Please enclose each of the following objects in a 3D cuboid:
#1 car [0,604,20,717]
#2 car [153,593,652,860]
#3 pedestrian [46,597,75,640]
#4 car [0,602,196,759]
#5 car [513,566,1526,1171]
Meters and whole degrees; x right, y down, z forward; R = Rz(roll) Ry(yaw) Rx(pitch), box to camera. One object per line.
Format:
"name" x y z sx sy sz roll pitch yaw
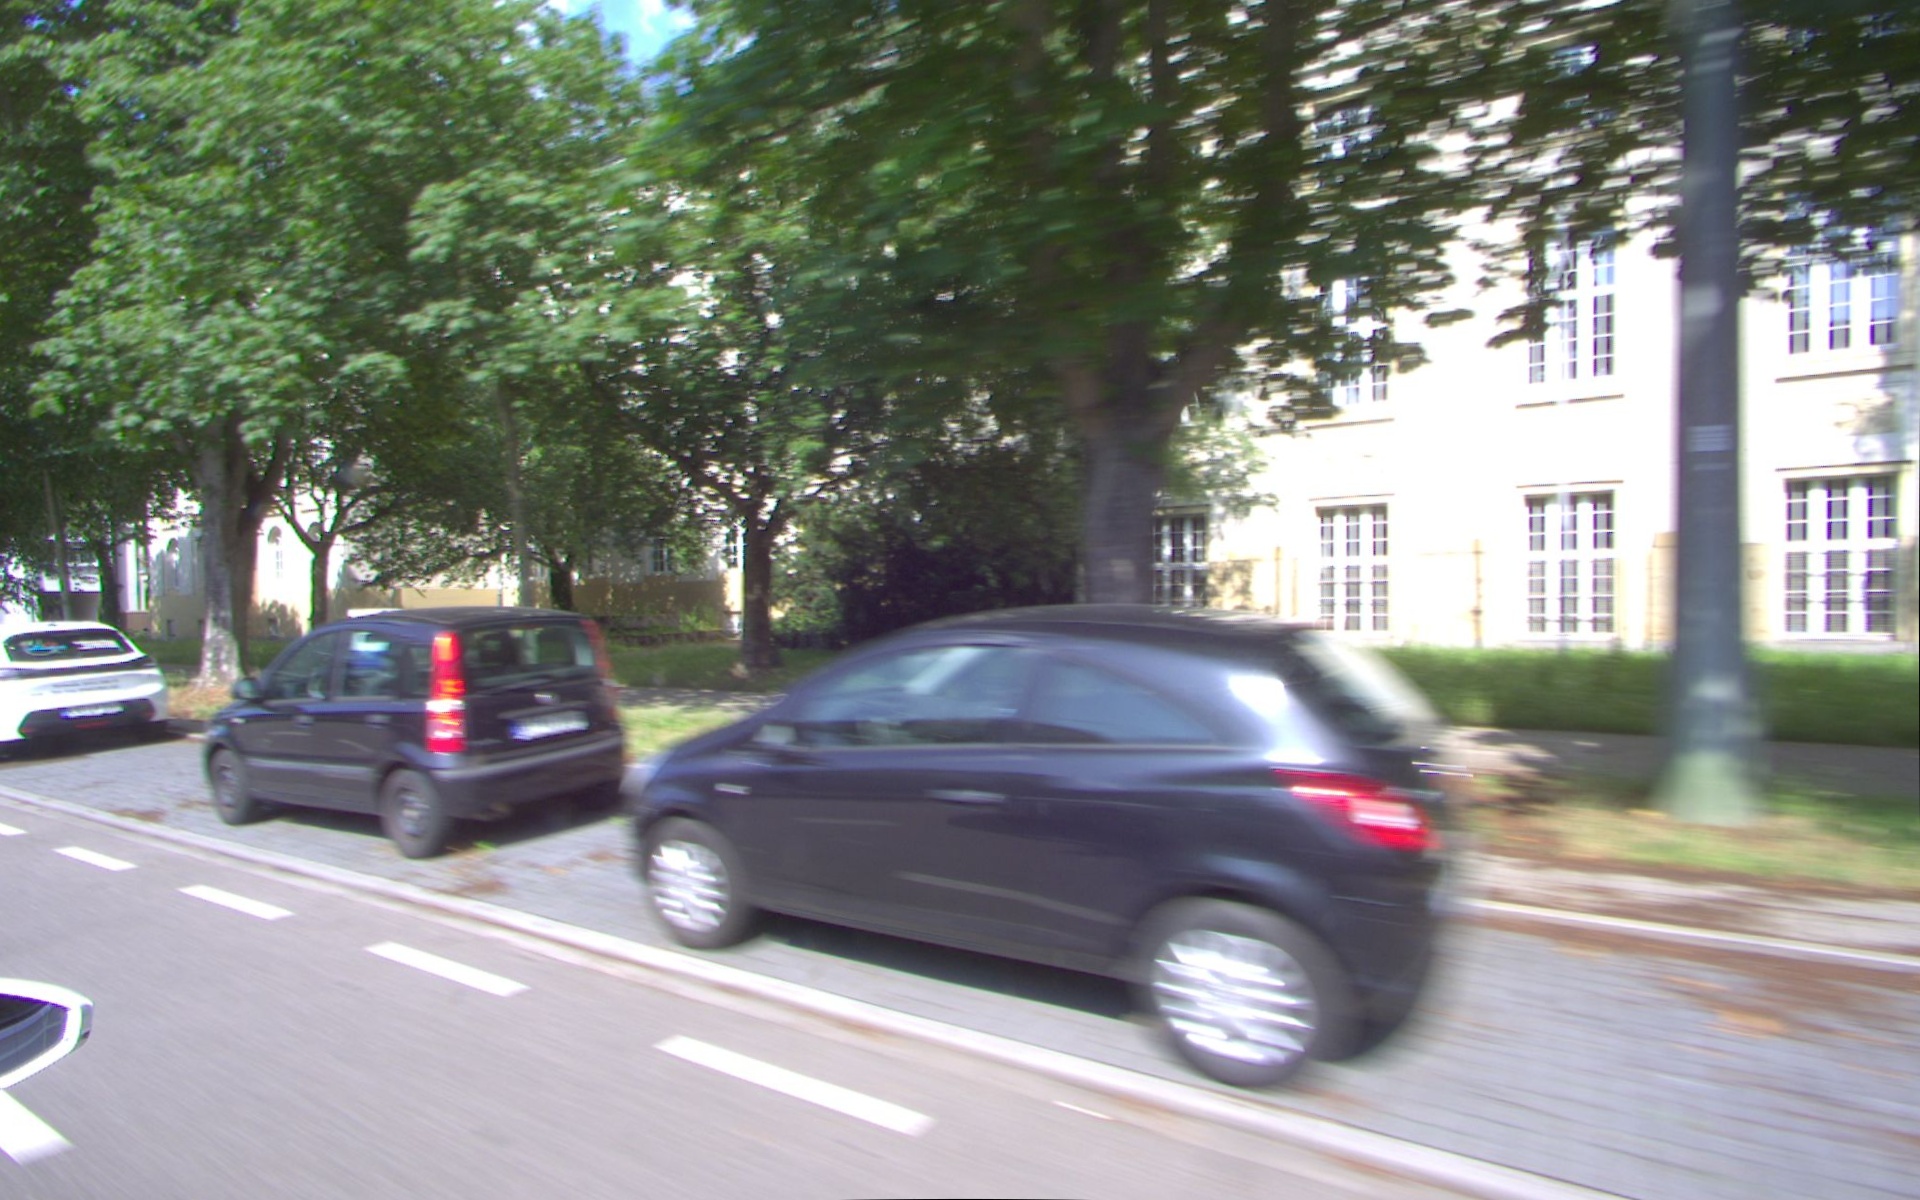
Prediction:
"car" -16.048 0.911 15.045 4.611 1.605 1.720 -1 2 33
"car" -4.158 0.784 7.403 3.505 1.481 1.552 -2 3 30
"pedestrian" -33.943 0.701 37.802 0.532 1.617 0.630 -1 1 29
"car" -11.369 0.869 12.118 4.189 1.544 1.831 -1 3 30
"car" 0.077 0.725 4.515 4.246 1.583 1.686 -1 3 32
